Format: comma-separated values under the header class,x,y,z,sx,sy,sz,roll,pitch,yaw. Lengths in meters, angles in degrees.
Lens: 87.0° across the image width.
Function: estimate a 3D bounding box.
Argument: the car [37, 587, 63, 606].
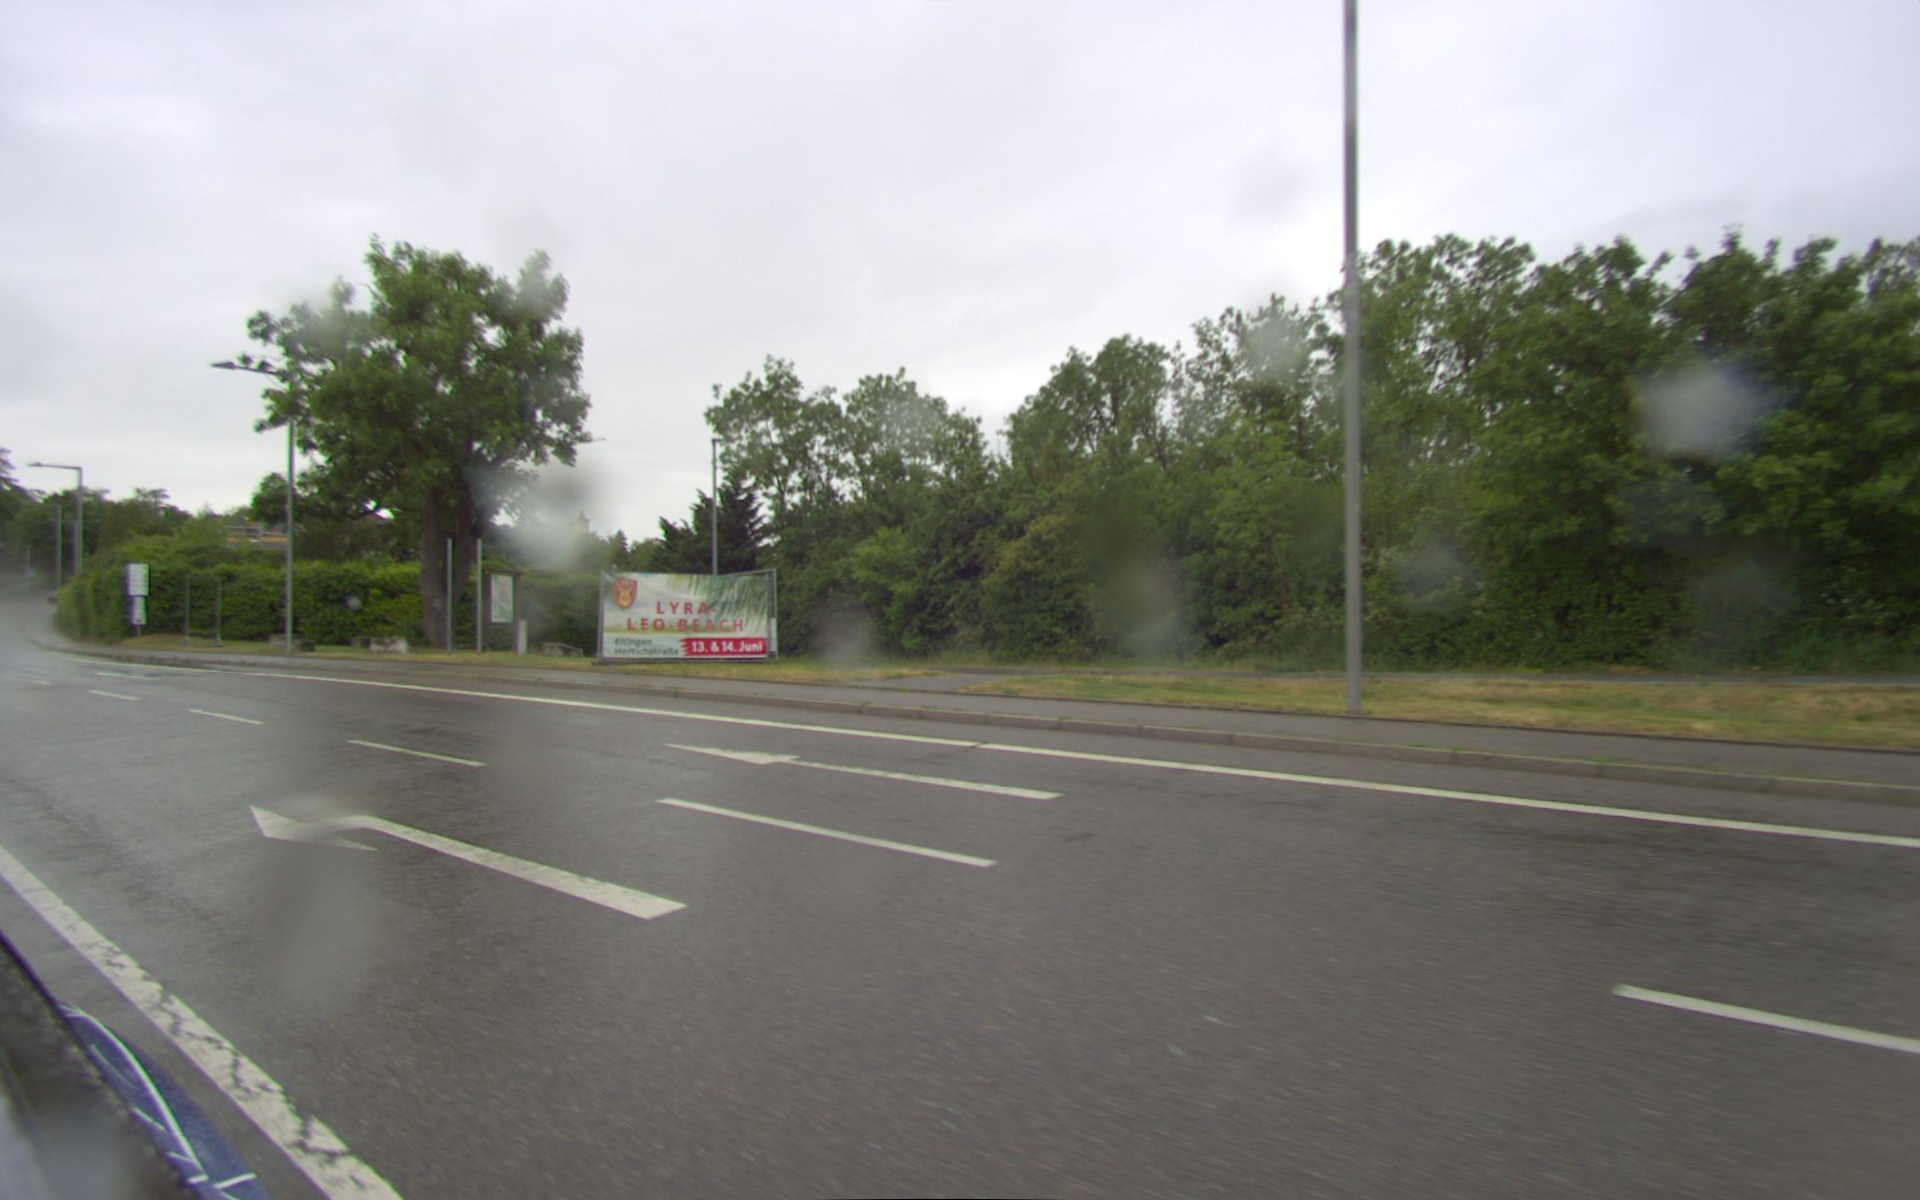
class,x,y,z,sx,sy,sz,roll,pitch,yaw
car,-96.641,-0.394,107.467,1.937,2.029,4.006,0,0,-40
